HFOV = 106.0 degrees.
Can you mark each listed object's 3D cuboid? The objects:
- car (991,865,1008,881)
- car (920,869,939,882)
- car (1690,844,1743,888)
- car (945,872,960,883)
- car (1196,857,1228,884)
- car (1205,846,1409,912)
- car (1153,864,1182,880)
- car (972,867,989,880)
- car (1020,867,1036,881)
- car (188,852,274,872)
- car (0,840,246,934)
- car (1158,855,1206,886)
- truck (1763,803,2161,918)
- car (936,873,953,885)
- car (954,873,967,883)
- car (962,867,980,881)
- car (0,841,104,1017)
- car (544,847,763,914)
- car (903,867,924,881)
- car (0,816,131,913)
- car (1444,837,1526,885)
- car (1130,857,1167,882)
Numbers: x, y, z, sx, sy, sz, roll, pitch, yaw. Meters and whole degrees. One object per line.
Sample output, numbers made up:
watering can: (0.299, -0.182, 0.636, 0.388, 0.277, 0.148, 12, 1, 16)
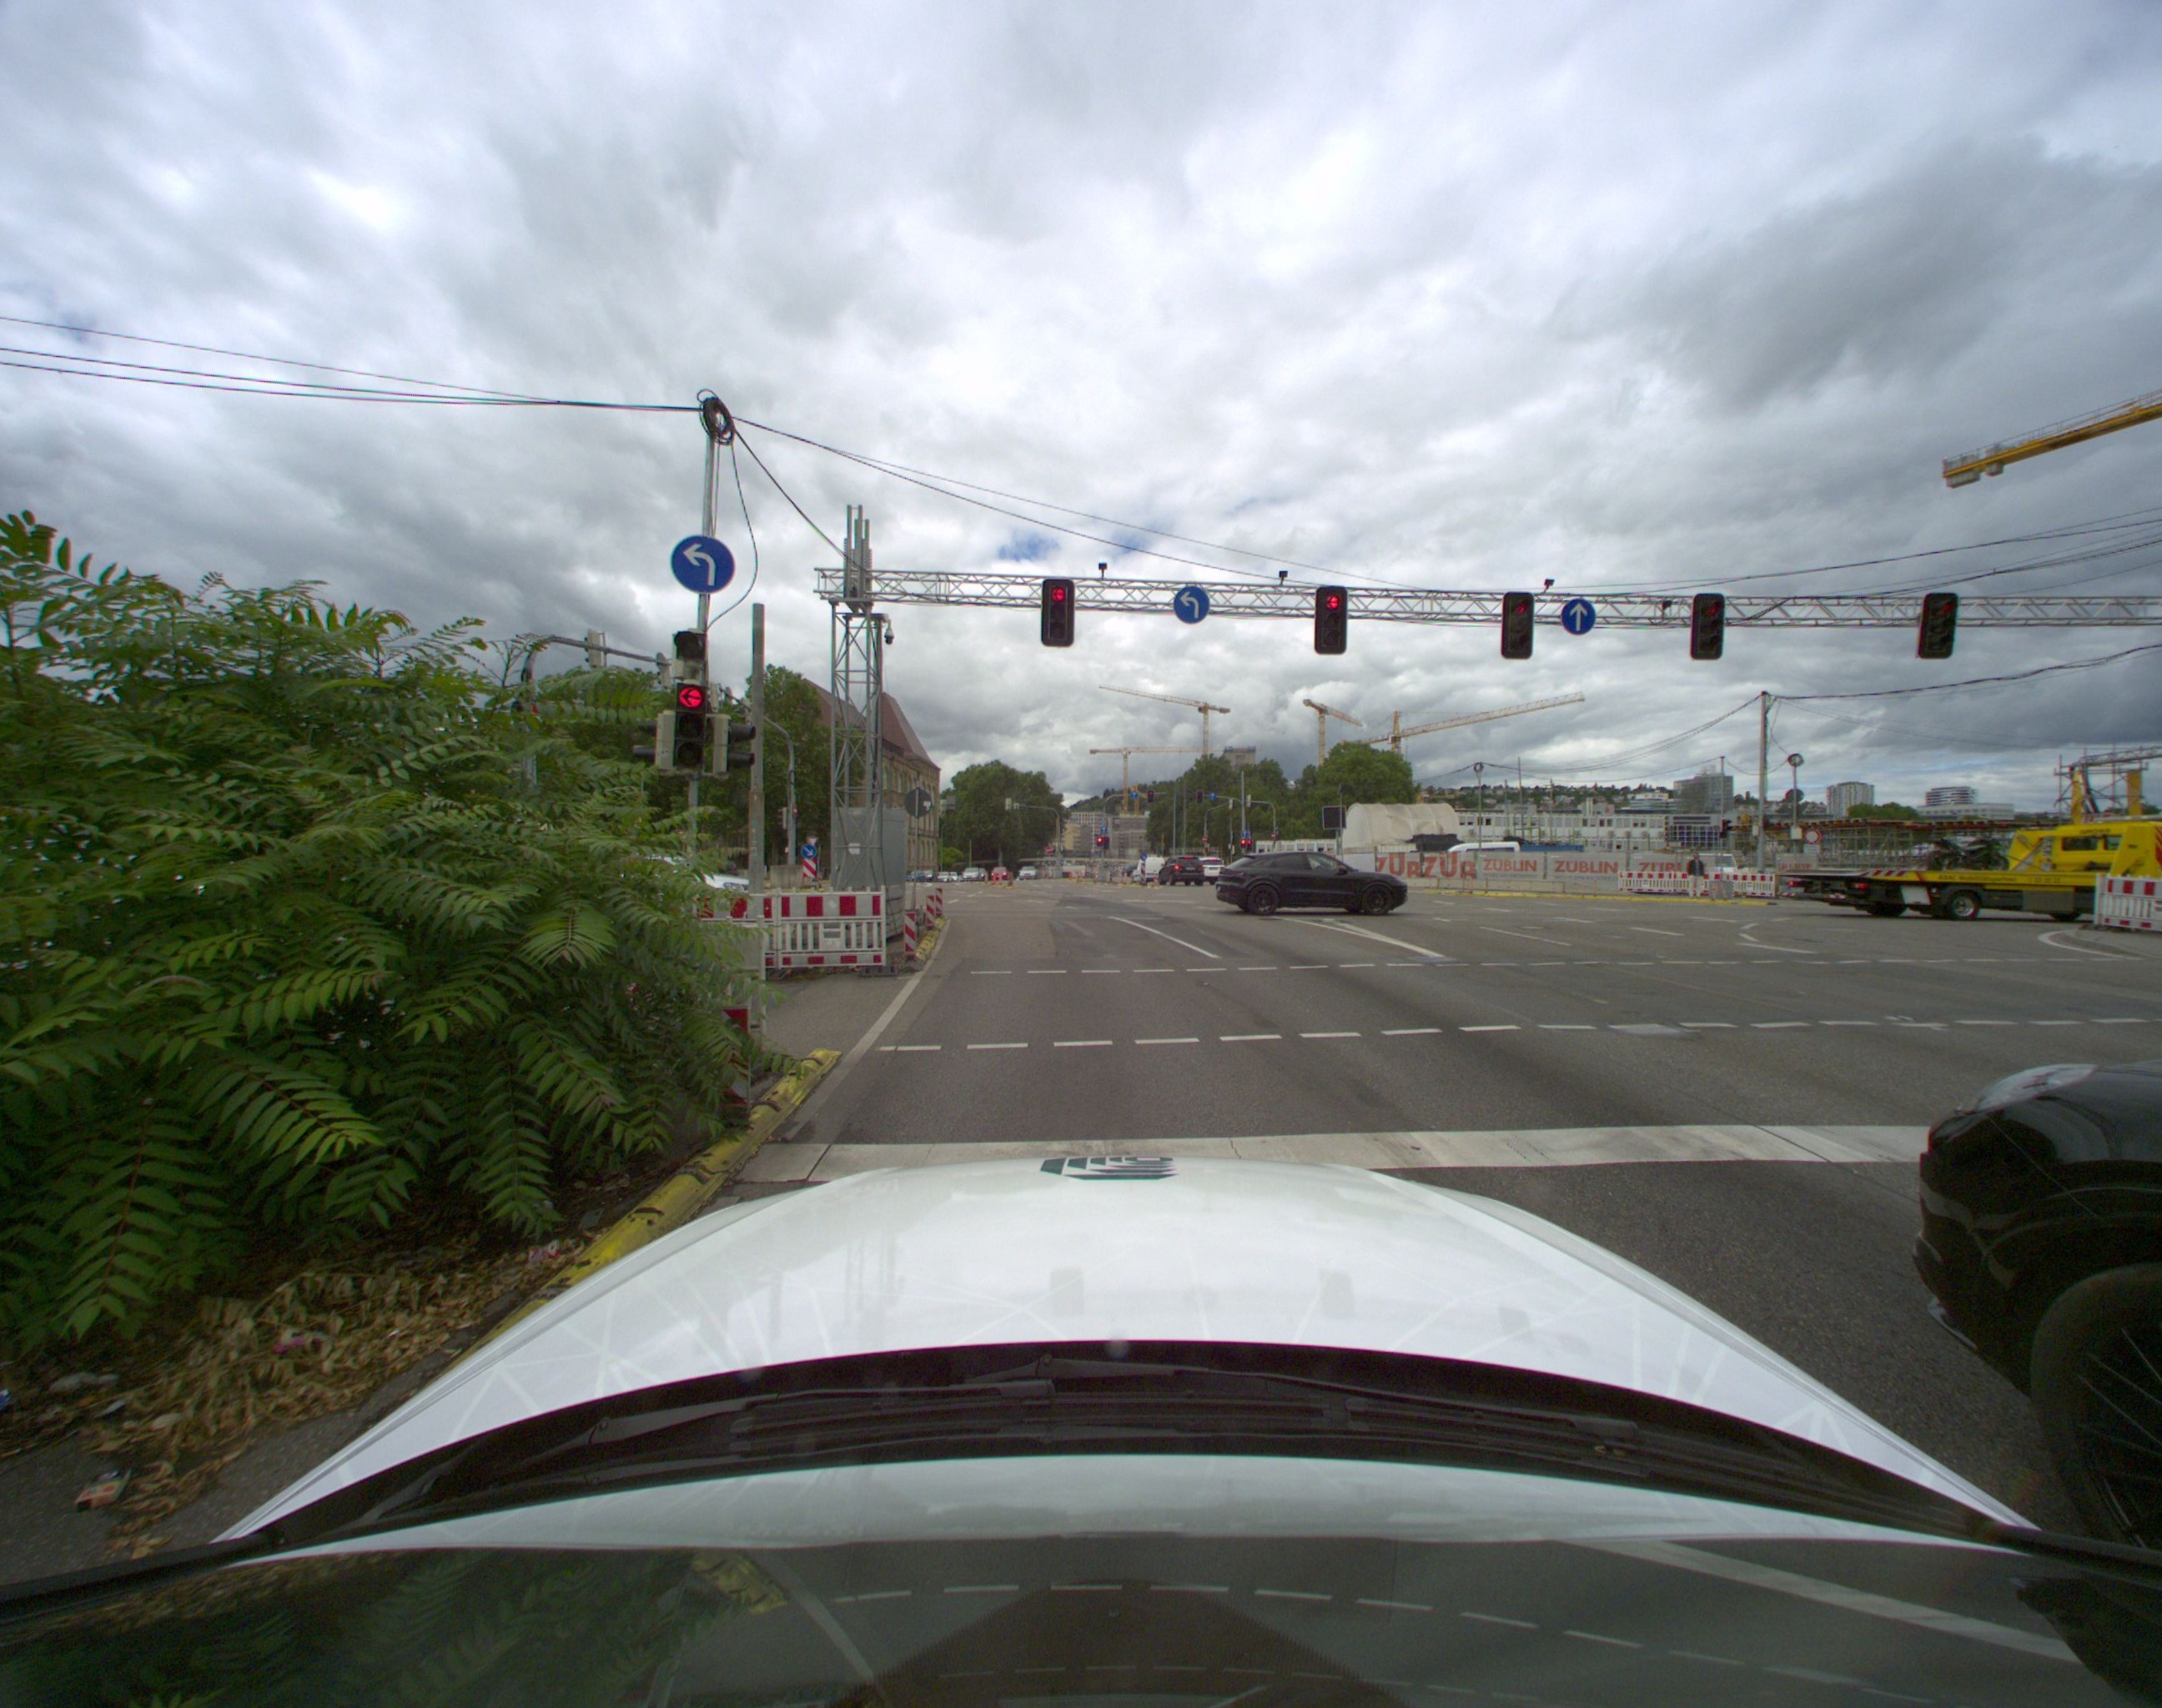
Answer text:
car: (-8.470, 1.975, 85.092, 1.673, 1.580, 3.677, 0, -1, -4)
car: (-17.388, 2.483, 93.507, 1.673, 1.398, 3.677, 0, -1, -4)
car: (30.134, 0.558, 38.692, 1.755, 1.954, 3.146, -1, -1, 34)
car: (-17.121, 3.124, 108.435, 1.672, 1.398, 3.677, -1, -3, -3)
car: (8.482, 1.045, 52.997, 1.670, 1.702, 3.375, 0, -1, 2)
car: (5.791, 0.634, 21.313, 4.793, 1.625, 2.020, 0, -1, -1)
car: (8.028, 1.664, 75.956, 1.680, 1.398, 3.069, 0, -1, -16)
car: (-11.355, 2.244, 92.234, 1.673, 1.398, 3.677, 0, -1, -4)
car: (-5.574, 2.048, 85.319, 1.673, 1.398, 3.677, 0, -1, -4)
car: (-55.219, 0.496, 52.965, 3.604, 1.254, 1.677, 0, -1, -8)
car: (-18.530, 0.567, 15.610, 4.061, 1.625, 1.914, 0, 0, 19)
car: (5.962, 0.931, 48.490, 1.830, 1.746, 4.244, 0, -1, -8)
truck: (23.473, 0.157, 21.341, 8.948, 2.803, 2.627, 0, 0, 1)
car: (-17.079, 3.106, 101.978, 1.673, 1.398, 3.677, 0, -1, -4)
car: (-17.769, 3.559, 120.215, 1.673, 1.398, 3.677, 0, -1, -4)
car: (-11.610, 2.096, 86.077, 1.673, 1.398, 3.677, 0, -1, -4)
car: (-11.084, 0.722, 7.122, 1.881, 1.691, 4.227, 0, 0, -30)
car: (-10.888, 0.658, 20.955, 4.696, 1.625, 1.681, 0, -1, -1)
car: (-17.896, 2.149, 87.089, 1.673, 1.398, 3.677, 0, -1, -4)
car: (-28.181, 0.270, 20.412, 5.745, 2.305, 2.301, 0, -1, -3)
car: (23.233, 0.416, 46.967, 3.957, 2.662, 1.688, -1, -1, 15)
car: (4.571, 1.006, 55.575, 1.814, 1.625, 3.992, 0, -1, -5)
